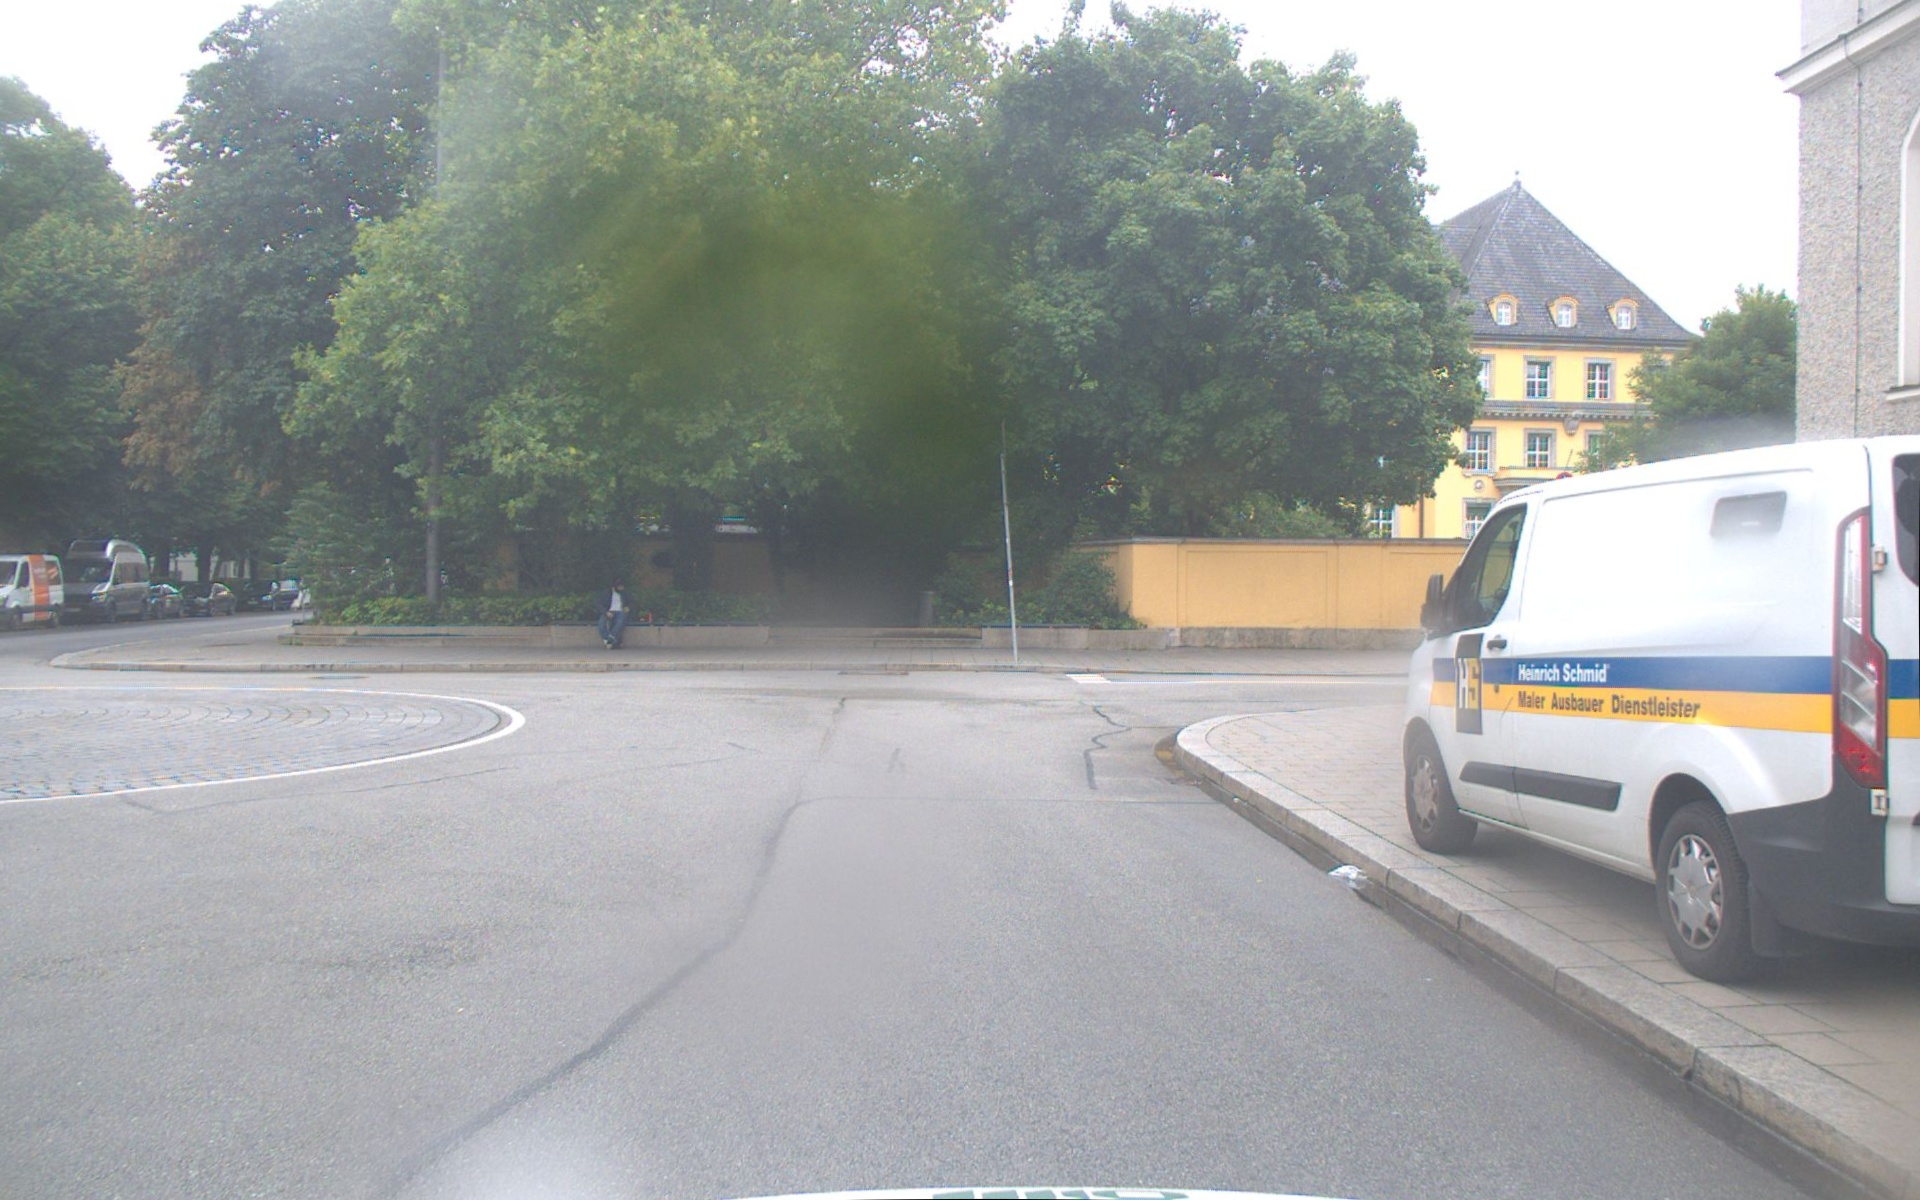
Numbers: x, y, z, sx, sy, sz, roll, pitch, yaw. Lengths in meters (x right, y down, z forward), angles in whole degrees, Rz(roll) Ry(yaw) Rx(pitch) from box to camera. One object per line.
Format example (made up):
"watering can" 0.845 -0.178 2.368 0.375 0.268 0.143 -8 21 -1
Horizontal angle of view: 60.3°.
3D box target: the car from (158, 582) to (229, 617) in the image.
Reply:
"car" -32.562 -0.039 70.368 1.960 1.445 4.115 0 1 -14

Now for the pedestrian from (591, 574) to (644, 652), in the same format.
"pedestrian" -6.176 0.227 29.896 0.753 1.380 1.131 0 1 -2

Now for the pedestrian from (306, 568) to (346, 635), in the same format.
"pedestrian" -18.088 0.036 47.174 0.814 1.868 0.939 0 1 -38

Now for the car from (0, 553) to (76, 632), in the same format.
"car" -29.232 -0.217 50.715 2.046 2.304 5.589 -2 1 -10

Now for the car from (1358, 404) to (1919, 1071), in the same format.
"car" 3.581 0.348 7.579 1.900 1.955 5.371 -1 1 -4

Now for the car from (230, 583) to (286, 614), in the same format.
"car" -35.542 -0.092 83.813 1.960 1.512 4.115 0 1 -14

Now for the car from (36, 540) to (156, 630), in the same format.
"car" -30.915 -0.545 59.425 2.134 3.055 6.216 0 1 -11

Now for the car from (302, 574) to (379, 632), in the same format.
"car" -21.895 0.080 58.586 1.878 1.970 4.953 0 0 -13
